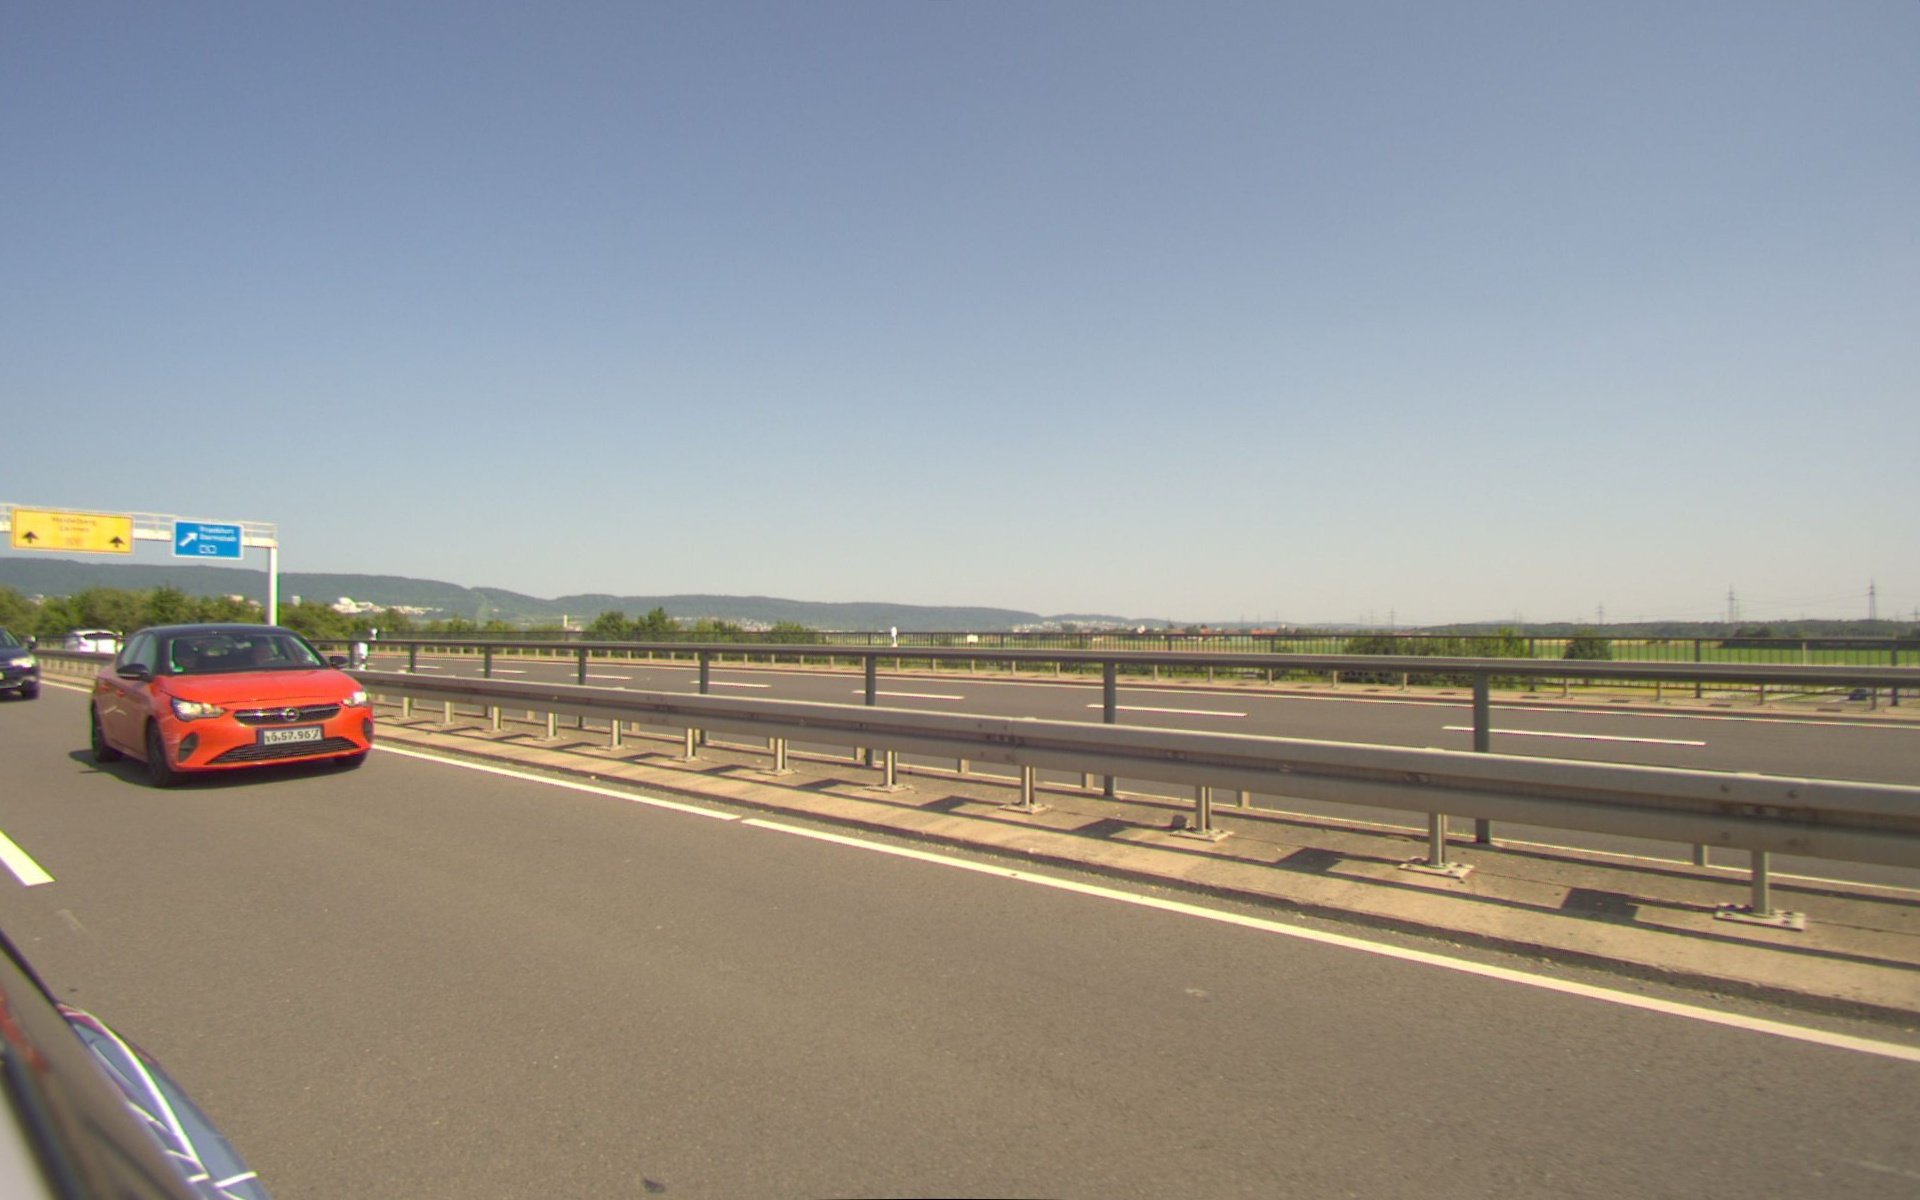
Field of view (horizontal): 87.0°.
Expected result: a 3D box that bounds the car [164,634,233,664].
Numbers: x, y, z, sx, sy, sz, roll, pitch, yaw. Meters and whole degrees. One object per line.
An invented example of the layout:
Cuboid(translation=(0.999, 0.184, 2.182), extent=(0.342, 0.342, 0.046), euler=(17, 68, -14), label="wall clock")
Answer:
Cuboid(translation=(-38.092, 2.432, 50.601), extent=(3.994, 1.394, 1.763), euler=(-2, -1, 38), label="car")

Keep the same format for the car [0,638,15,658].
Cuboid(translation=(-74.338, 3.705, 77.796), extent=(4.525, 1.439, 1.807), euler=(-2, -1, 38), label="car")

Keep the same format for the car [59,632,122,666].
Cuboid(translation=(-39.475, 2.196, 45.915), extent=(3.665, 1.427, 1.536), euler=(-2, -1, 39), label="car")

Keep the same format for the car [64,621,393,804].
Cuboid(translation=(-7.581, 0.988, 10.312), extent=(4.408, 1.448, 1.692), euler=(-2, -1, 40), label="car")

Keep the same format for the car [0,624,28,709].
Cuboid(translation=(-19.517, 1.280, 19.645), extent=(4.374, 1.545, 1.764), euler=(-2, -1, 43), label="car")
